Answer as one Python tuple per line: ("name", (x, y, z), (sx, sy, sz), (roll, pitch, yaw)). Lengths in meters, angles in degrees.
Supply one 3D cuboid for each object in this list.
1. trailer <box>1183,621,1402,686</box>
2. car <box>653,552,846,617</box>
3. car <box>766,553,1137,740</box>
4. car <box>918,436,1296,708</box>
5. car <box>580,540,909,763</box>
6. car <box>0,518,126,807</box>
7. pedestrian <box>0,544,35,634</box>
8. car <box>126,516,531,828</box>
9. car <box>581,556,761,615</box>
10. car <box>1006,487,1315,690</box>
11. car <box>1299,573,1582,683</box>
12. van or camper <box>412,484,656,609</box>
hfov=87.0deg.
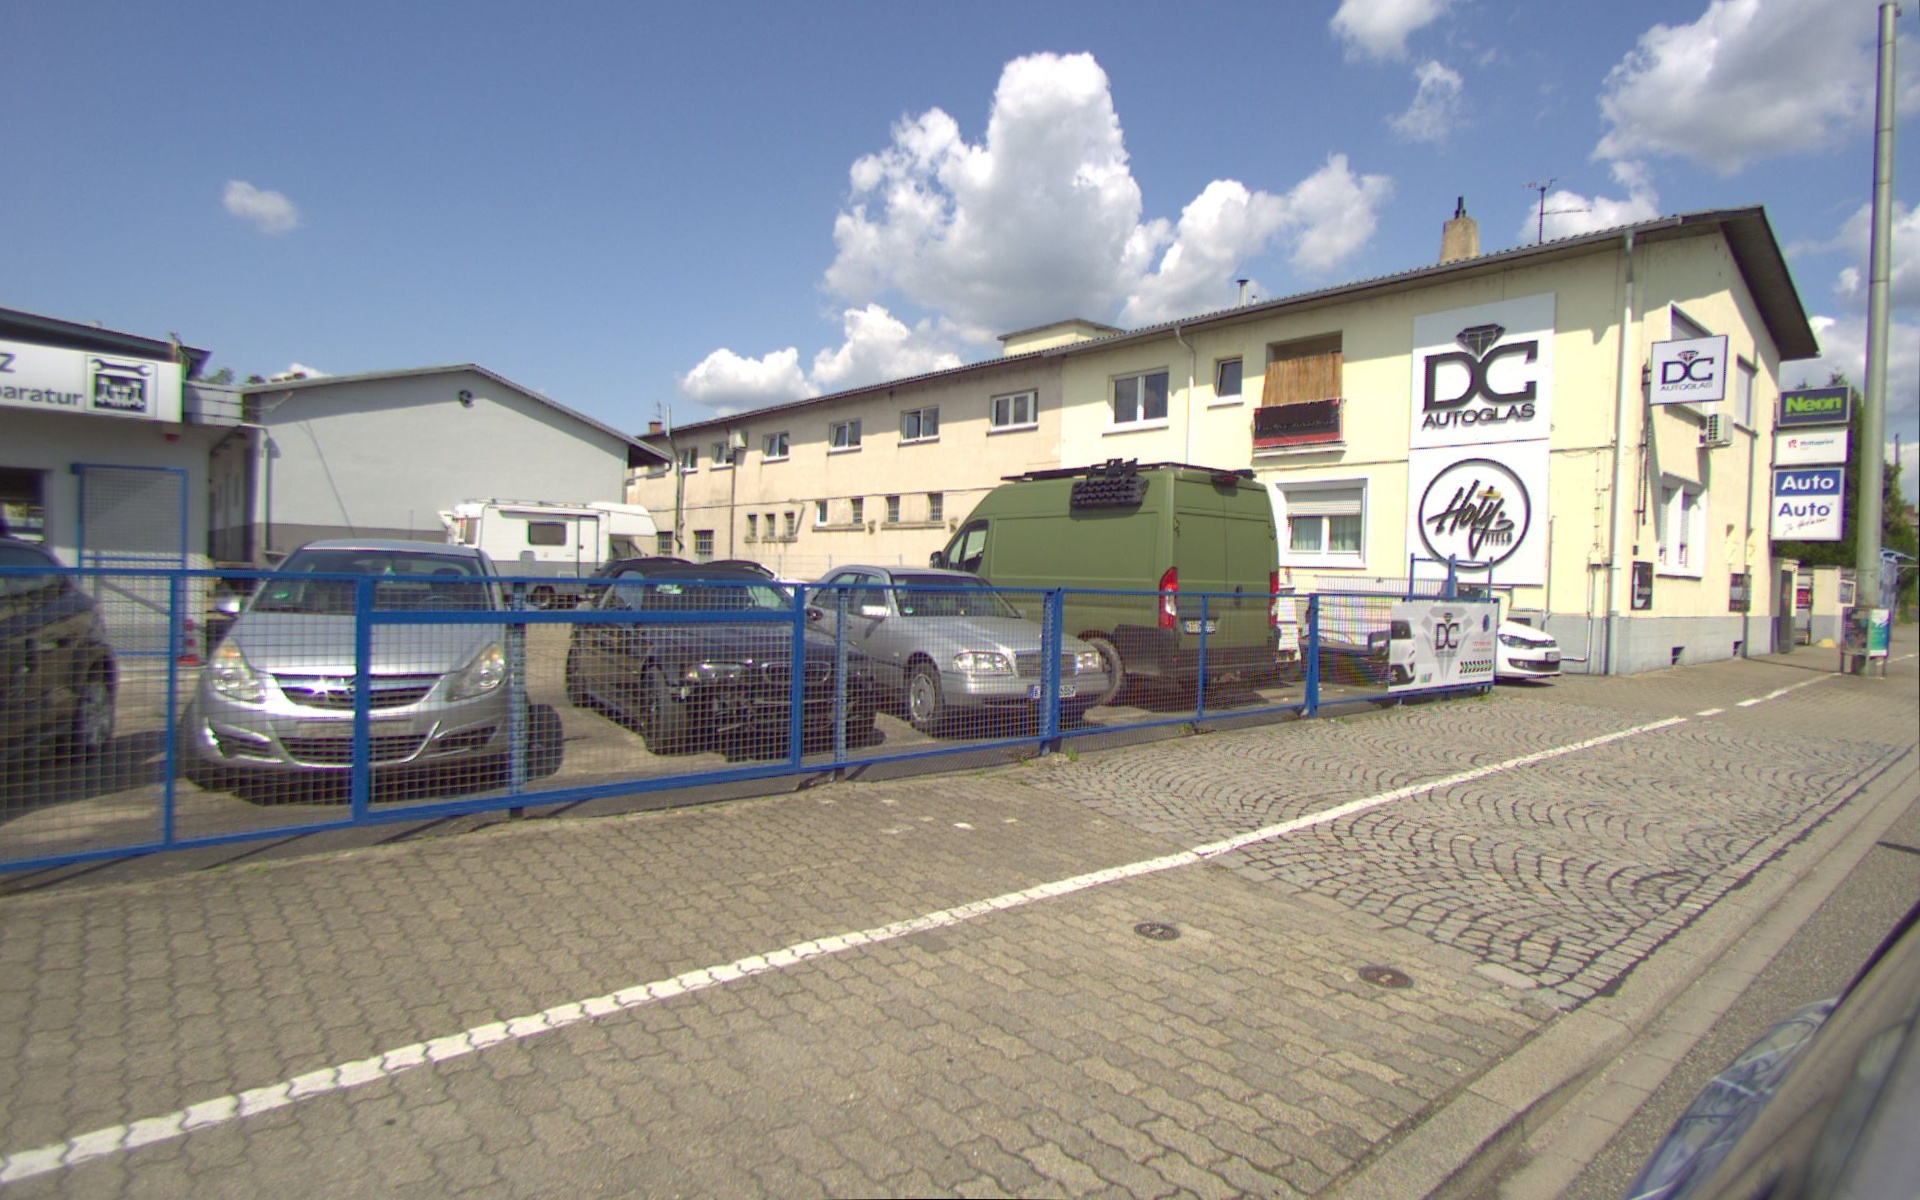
("trailer", (4.755, 0.725, 14.651), (1.307, 0.674, 2.730), (0, 2, -42))
("car", (-4.839, -0.348, 23.549), (4.112, 1.378, 1.645), (0, 2, -41))
("car", (-0.333, 0.287, 10.204), (1.679, 1.470, 4.292), (1, 2, -33))
("car", (1.593, -0.349, 12.257), (2.075, 2.675, 4.208), (1, 2, -39))
("car", (-2.123, 0.274, 8.898), (1.737, 1.470, 4.128), (1, 2, -28))
("car", (-5.630, 0.304, 4.870), (1.606, 1.470, 3.700), (1, 2, -25))
("pedestrian", (-13.156, -0.157, 13.882), (0.652, 1.224, 0.566), (1, 1, -39))
("car", (-3.893, 0.281, 6.841), (1.736, 1.470, 3.778), (1, 2, -24))
("car", (-7.301, -0.358, 25.812), (4.112, 1.378, 1.645), (0, 2, -41))
("car", (2.644, -0.217, 14.242), (1.557, 2.436, 4.208), (1, 2, -39))
("car", (7.540, 0.362, 16.180), (1.527, 1.481, 3.775), (1, 2, -39))
("van or camper", (-11.298, -1.324, 27.112), (5.556, 3.002, 2.272), (0, 2, -42))
